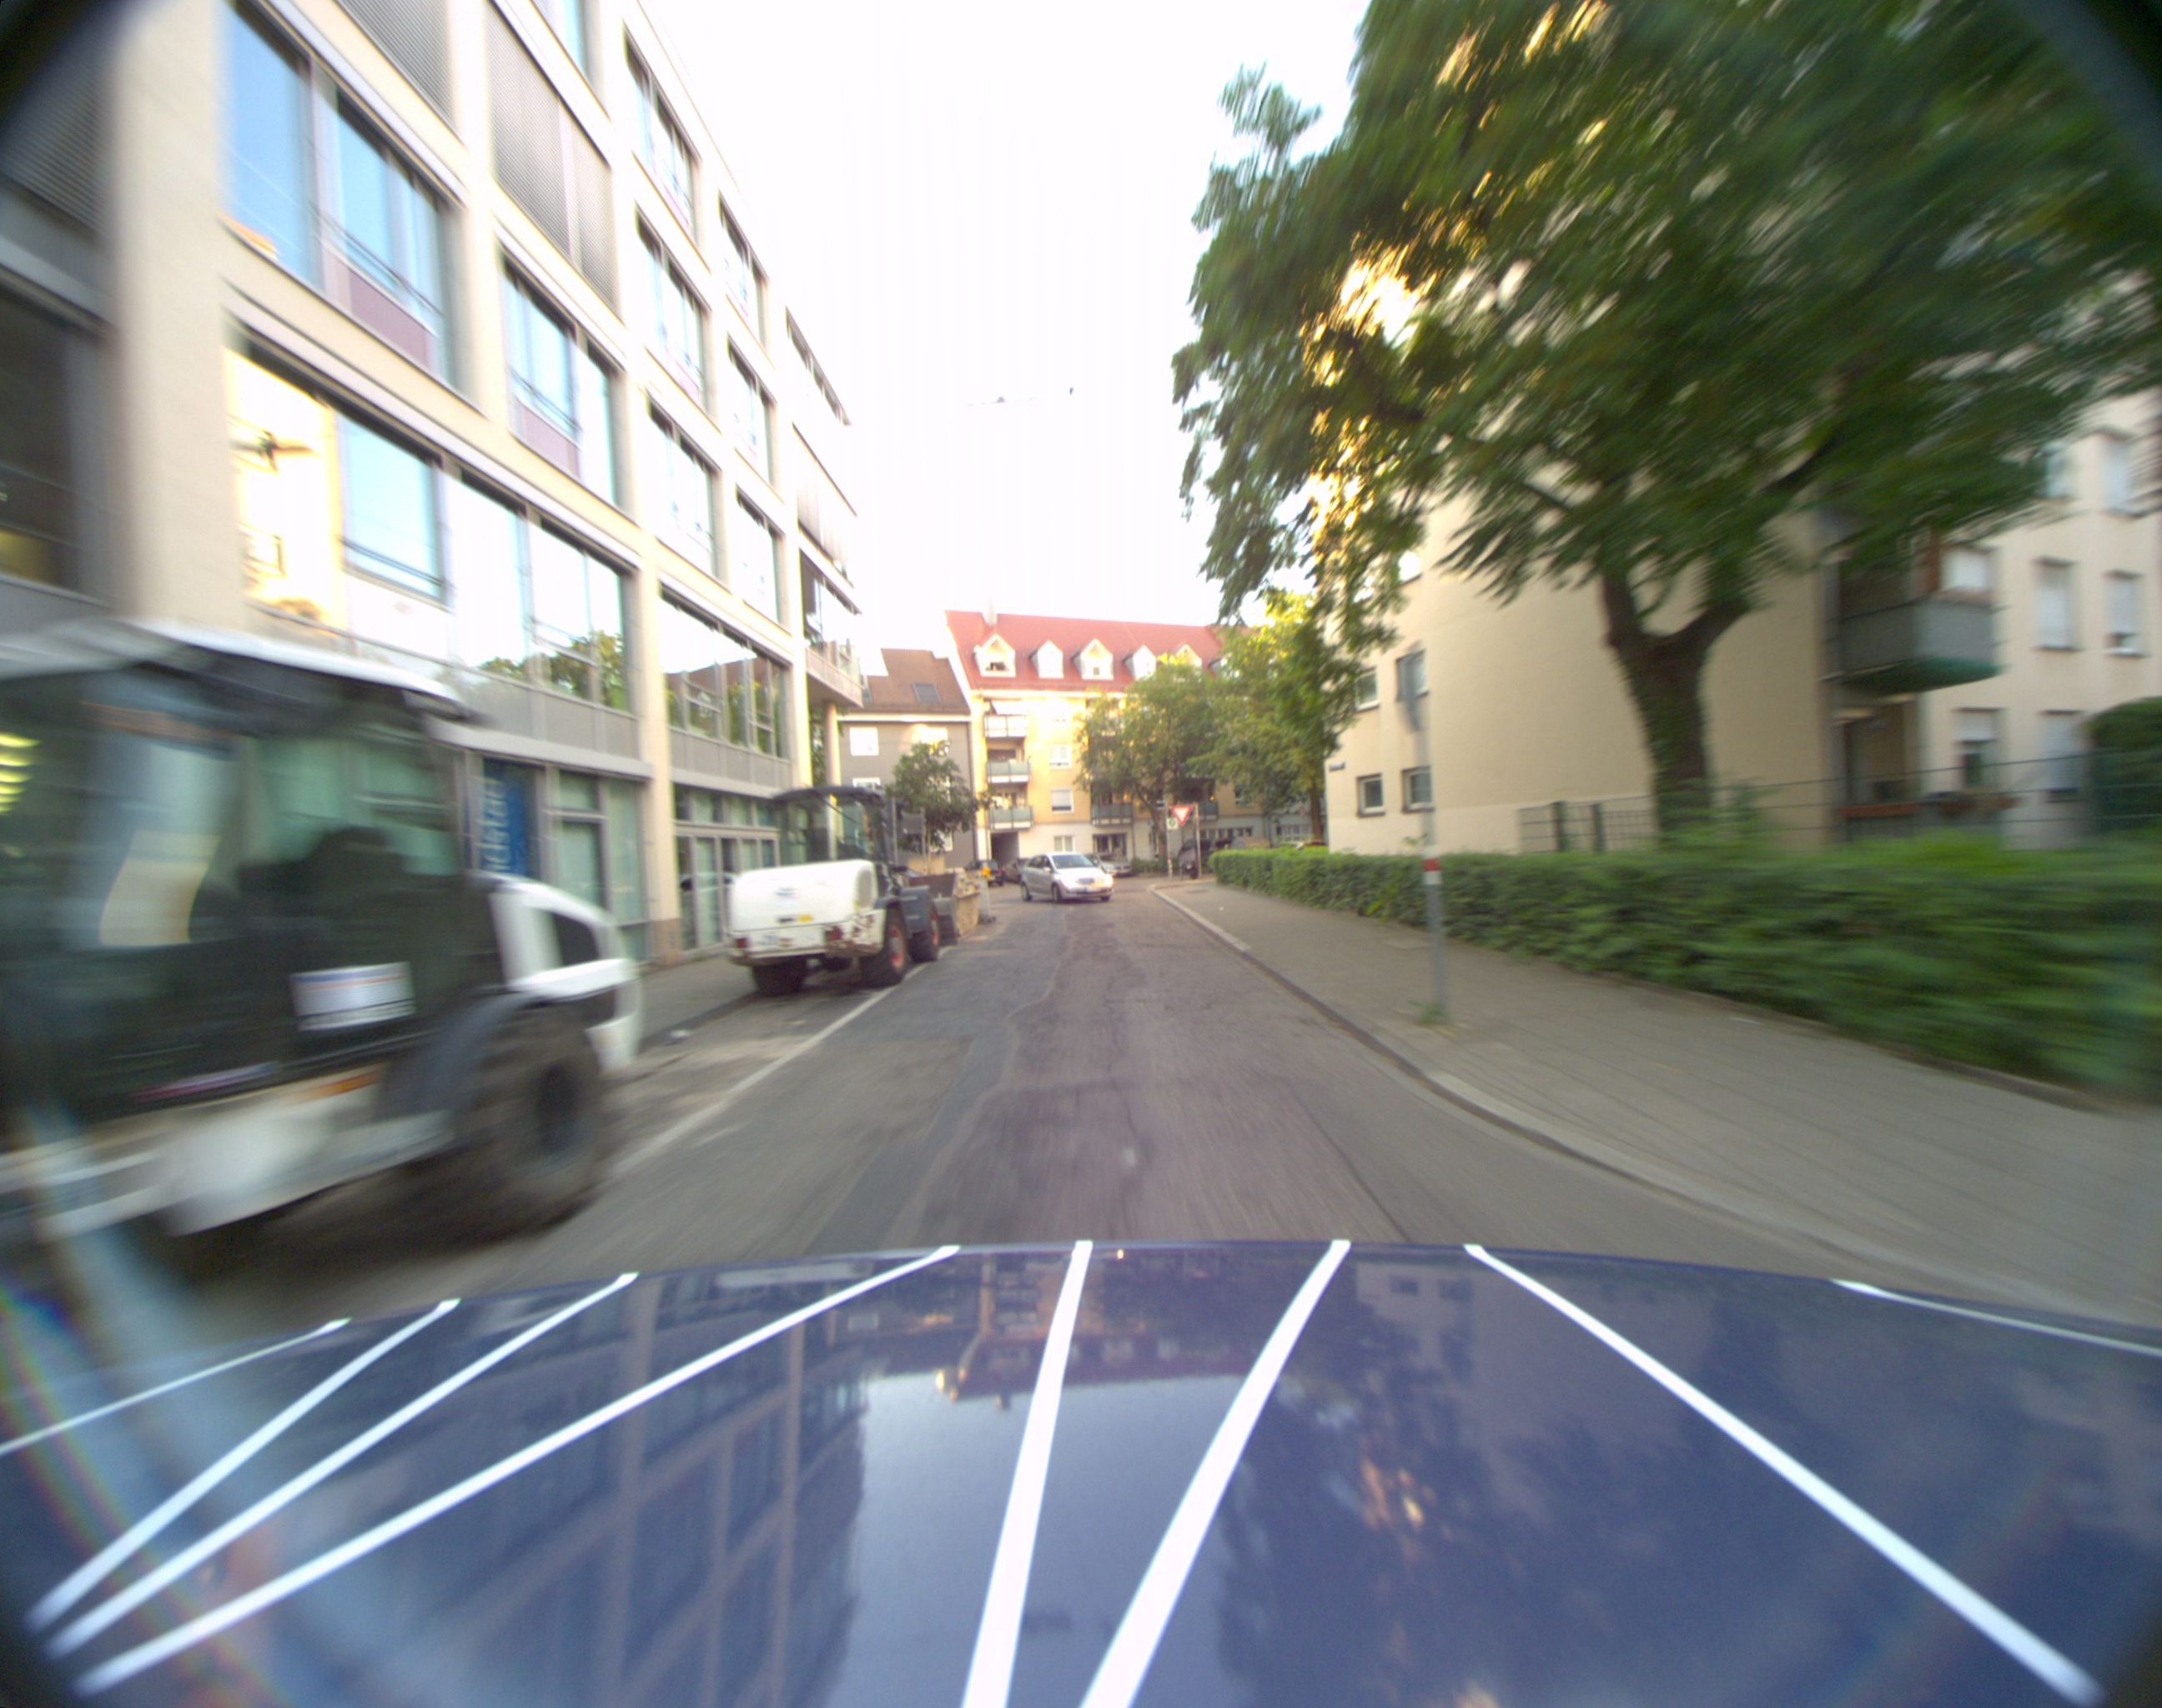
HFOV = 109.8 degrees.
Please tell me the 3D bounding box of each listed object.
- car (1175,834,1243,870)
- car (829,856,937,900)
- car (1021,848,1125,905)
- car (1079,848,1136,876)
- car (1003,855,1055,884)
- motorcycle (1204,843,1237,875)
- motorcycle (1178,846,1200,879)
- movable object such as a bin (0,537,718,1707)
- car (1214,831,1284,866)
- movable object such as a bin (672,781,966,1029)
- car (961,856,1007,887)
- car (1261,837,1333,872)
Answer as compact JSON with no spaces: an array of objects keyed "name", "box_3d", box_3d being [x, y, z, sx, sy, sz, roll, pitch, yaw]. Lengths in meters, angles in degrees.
[{"name":"car","box_3d":[7.914,-0.189,47.407,2.231,2.065,4.320,-2,3,-21]},{"name":"car","box_3d":[-8.735,0.998,33.445,4.396,1.686,1.997,-2,1,-19]},{"name":"car","box_3d":[-0.374,0.667,24.294,1.807,1.607,4.265,-1,0,-23]},{"name":"car","box_3d":[1.522,0.435,45.171,1.829,1.460,4.320,-2,3,-21]},{"name":"car","box_3d":[-3.040,0.838,43.332,1.749,1.395,4.238,-2,3,-21]},{"name":"motorcycle","box_3d":[6.399,0.235,34.839,0.572,1.398,1.968,-3,1,-18]},{"name":"motorcycle","box_3d":[4.859,0.361,34.037,0.858,1.345,1.960,-3,1,10]},{"name":"movable object such as a bin","box_3d":[-3.397,0.656,1.725,2.021,2.608,5.751,-5,0,2]},{"name":"car","box_3d":[10.528,-0.414,47.928,2.231,2.065,4.320,-2,3,-21]},{"name":"movable object such as a bin","box_3d":[-3.358,0.535,11.362,2.021,2.608,5.750,-5,1,2]},{"name":"car","box_3d":[-5.434,0.942,42.319,1.634,1.443,3.849,-2,3,-21]},{"name":"car","box_3d":[10.133,0.030,35.960,1.634,1.498,3.496,-3,1,-16]}]
